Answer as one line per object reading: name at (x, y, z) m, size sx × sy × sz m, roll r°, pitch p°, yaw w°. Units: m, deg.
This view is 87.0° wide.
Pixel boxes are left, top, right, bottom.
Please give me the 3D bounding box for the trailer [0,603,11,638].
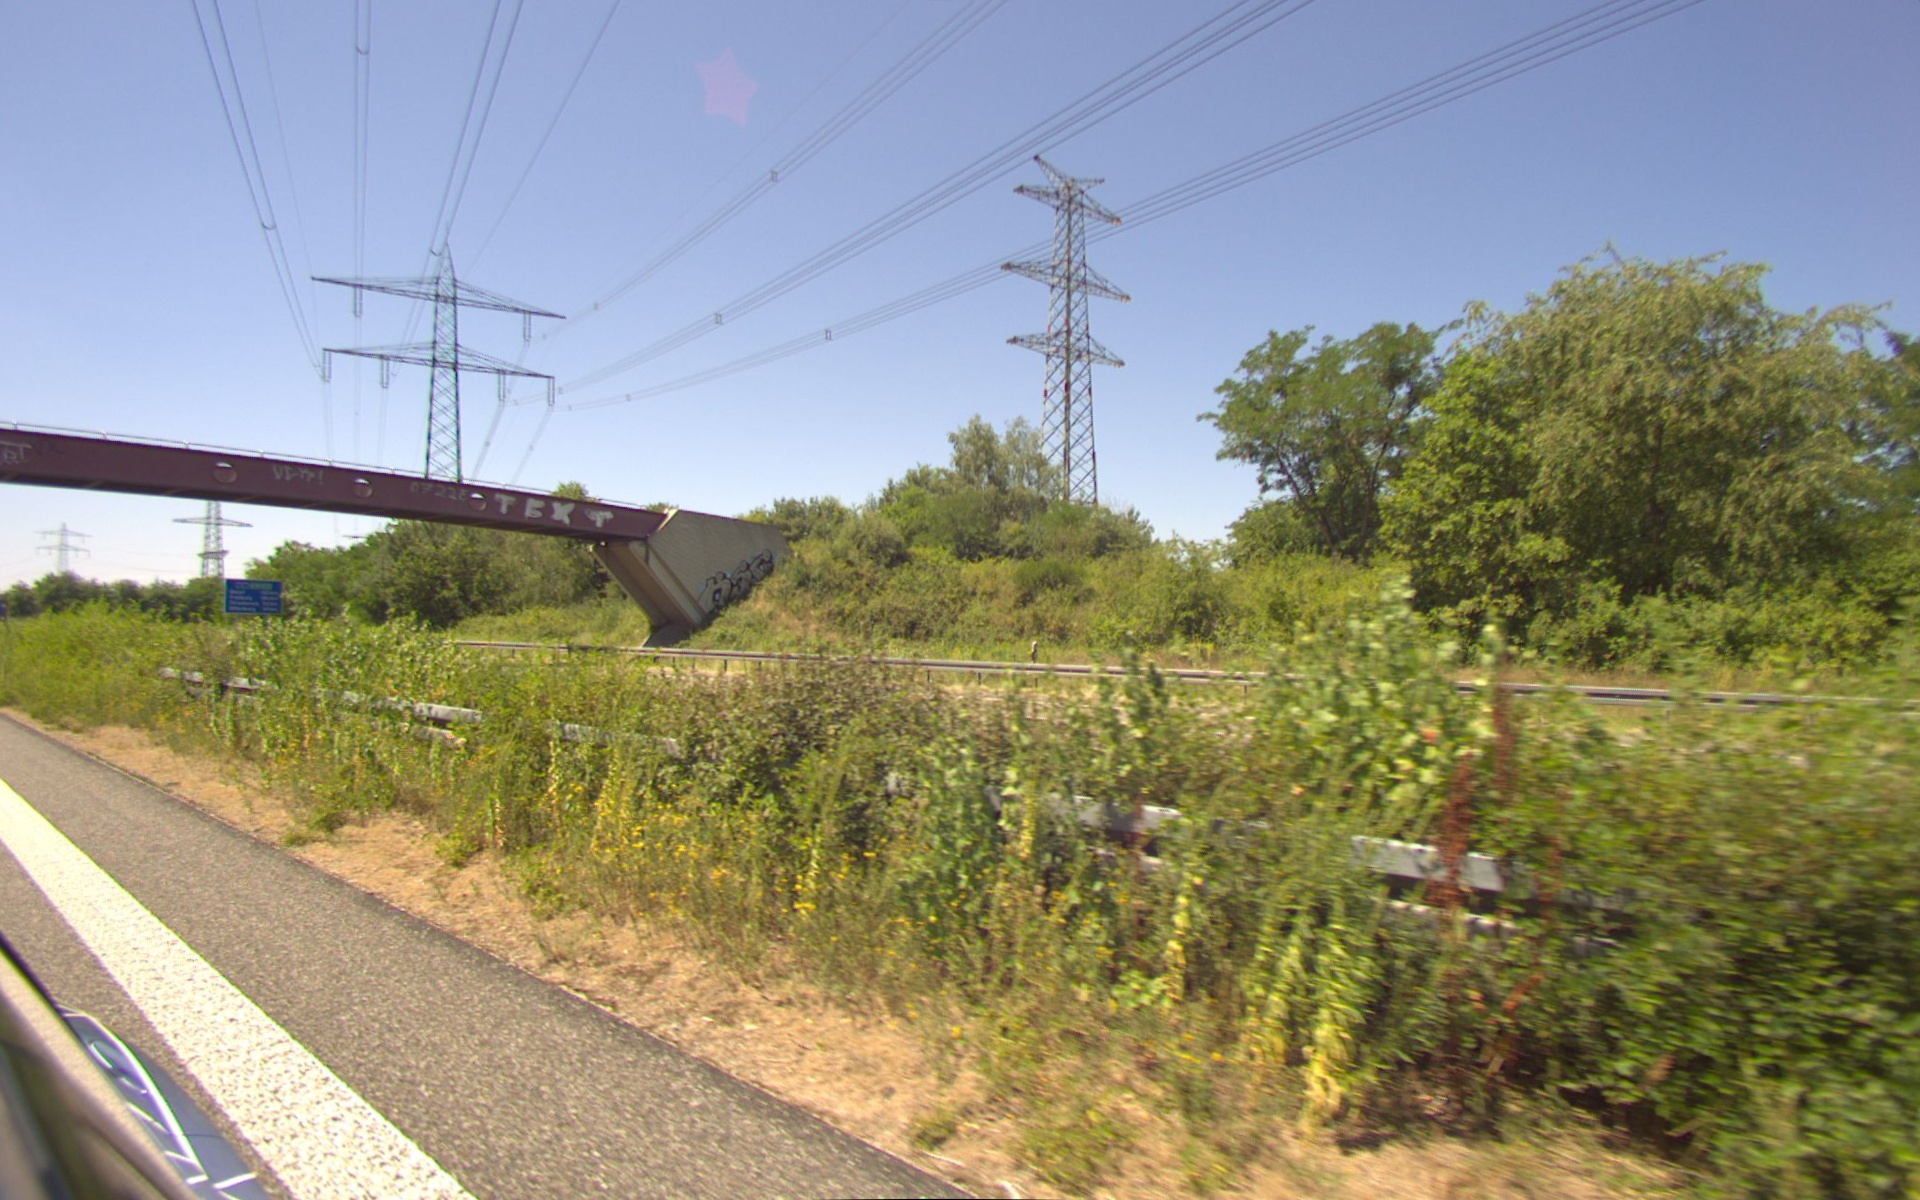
trailer at (-131.224, 2.723, 136.222) m, size 14.159 × 4.440 × 3.309 m, roll -2°, pitch -9°, yaw 42°
